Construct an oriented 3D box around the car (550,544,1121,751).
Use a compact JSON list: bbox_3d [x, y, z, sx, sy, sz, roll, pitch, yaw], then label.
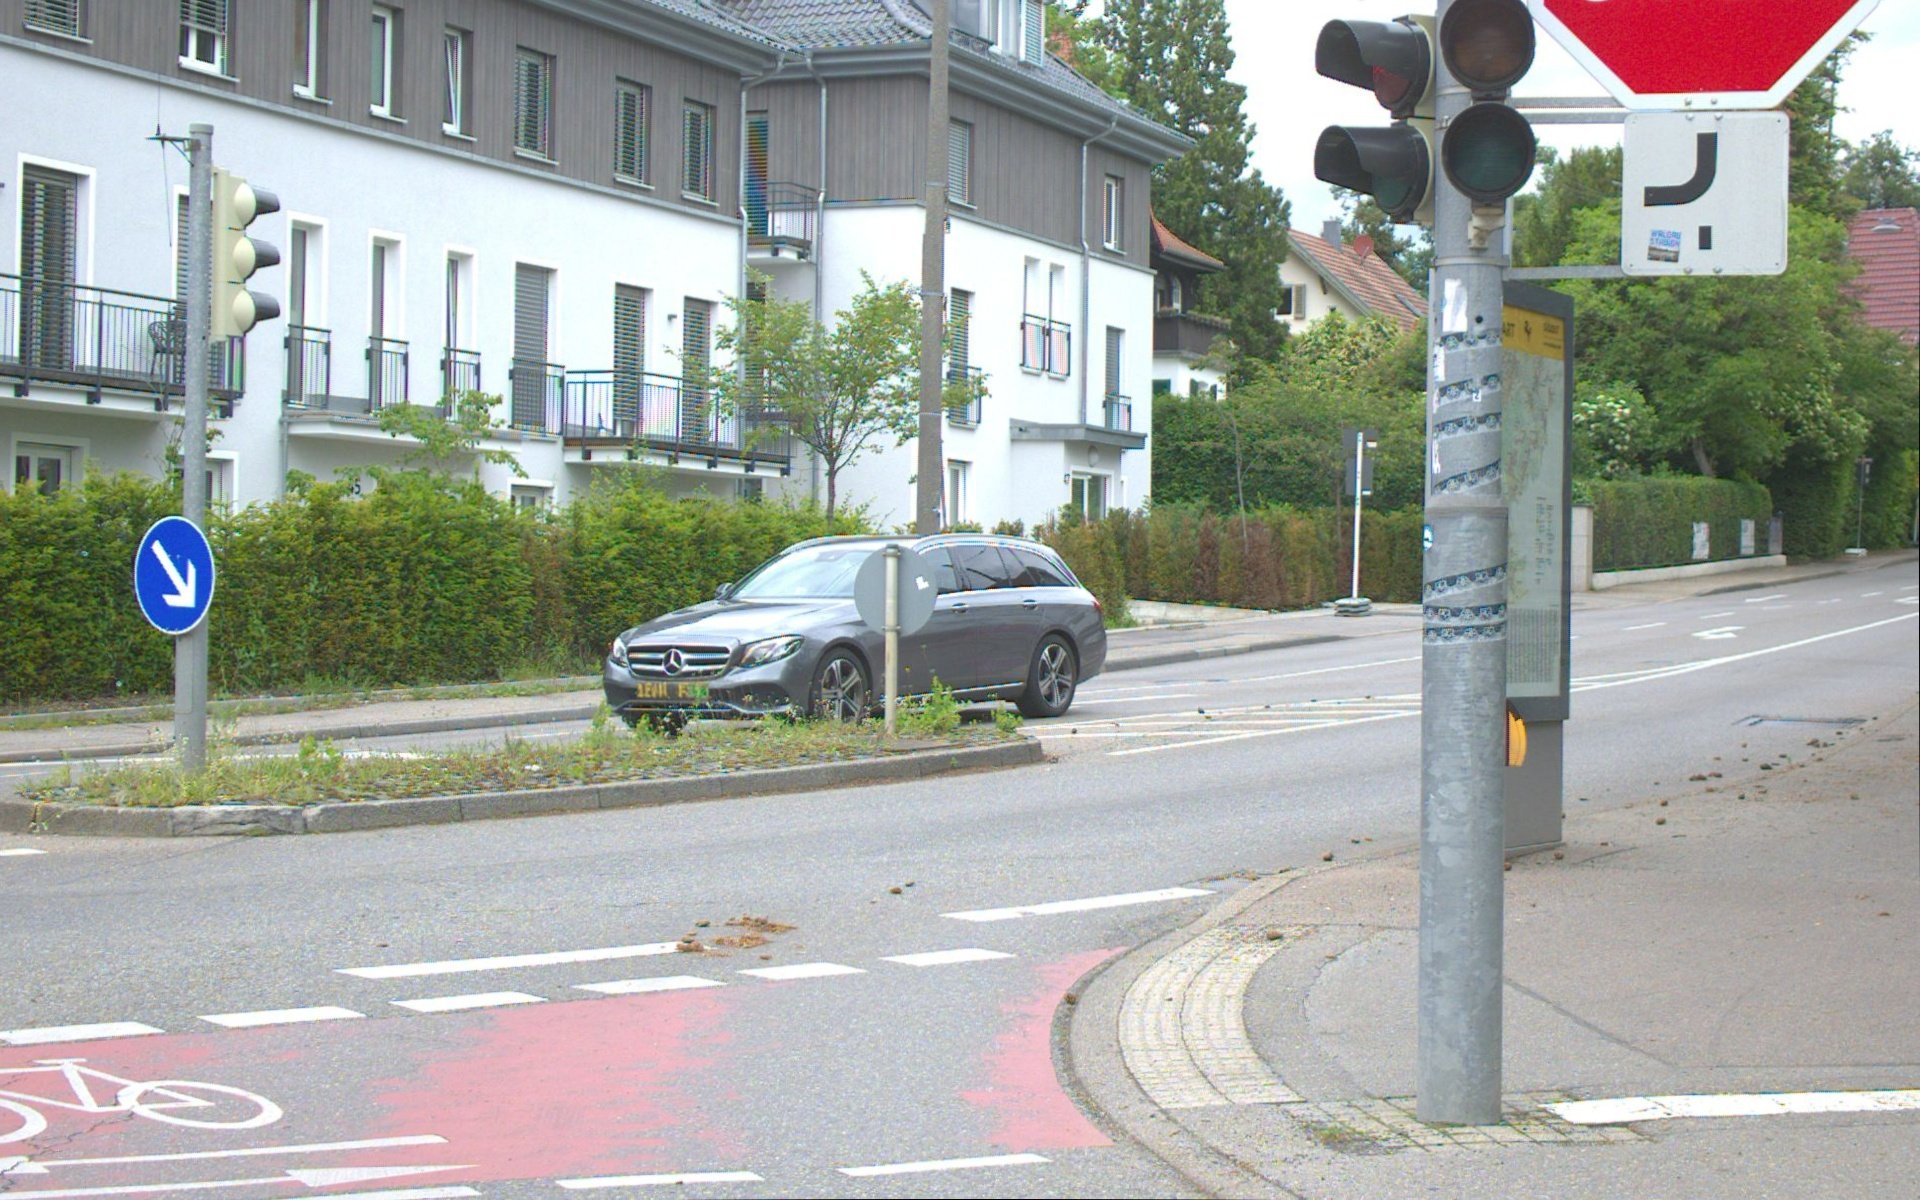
[{"bbox_3d":[-0.843,0.288,26.377,1.942,1.399,4.733,1,2,34],"label":"car"}]
